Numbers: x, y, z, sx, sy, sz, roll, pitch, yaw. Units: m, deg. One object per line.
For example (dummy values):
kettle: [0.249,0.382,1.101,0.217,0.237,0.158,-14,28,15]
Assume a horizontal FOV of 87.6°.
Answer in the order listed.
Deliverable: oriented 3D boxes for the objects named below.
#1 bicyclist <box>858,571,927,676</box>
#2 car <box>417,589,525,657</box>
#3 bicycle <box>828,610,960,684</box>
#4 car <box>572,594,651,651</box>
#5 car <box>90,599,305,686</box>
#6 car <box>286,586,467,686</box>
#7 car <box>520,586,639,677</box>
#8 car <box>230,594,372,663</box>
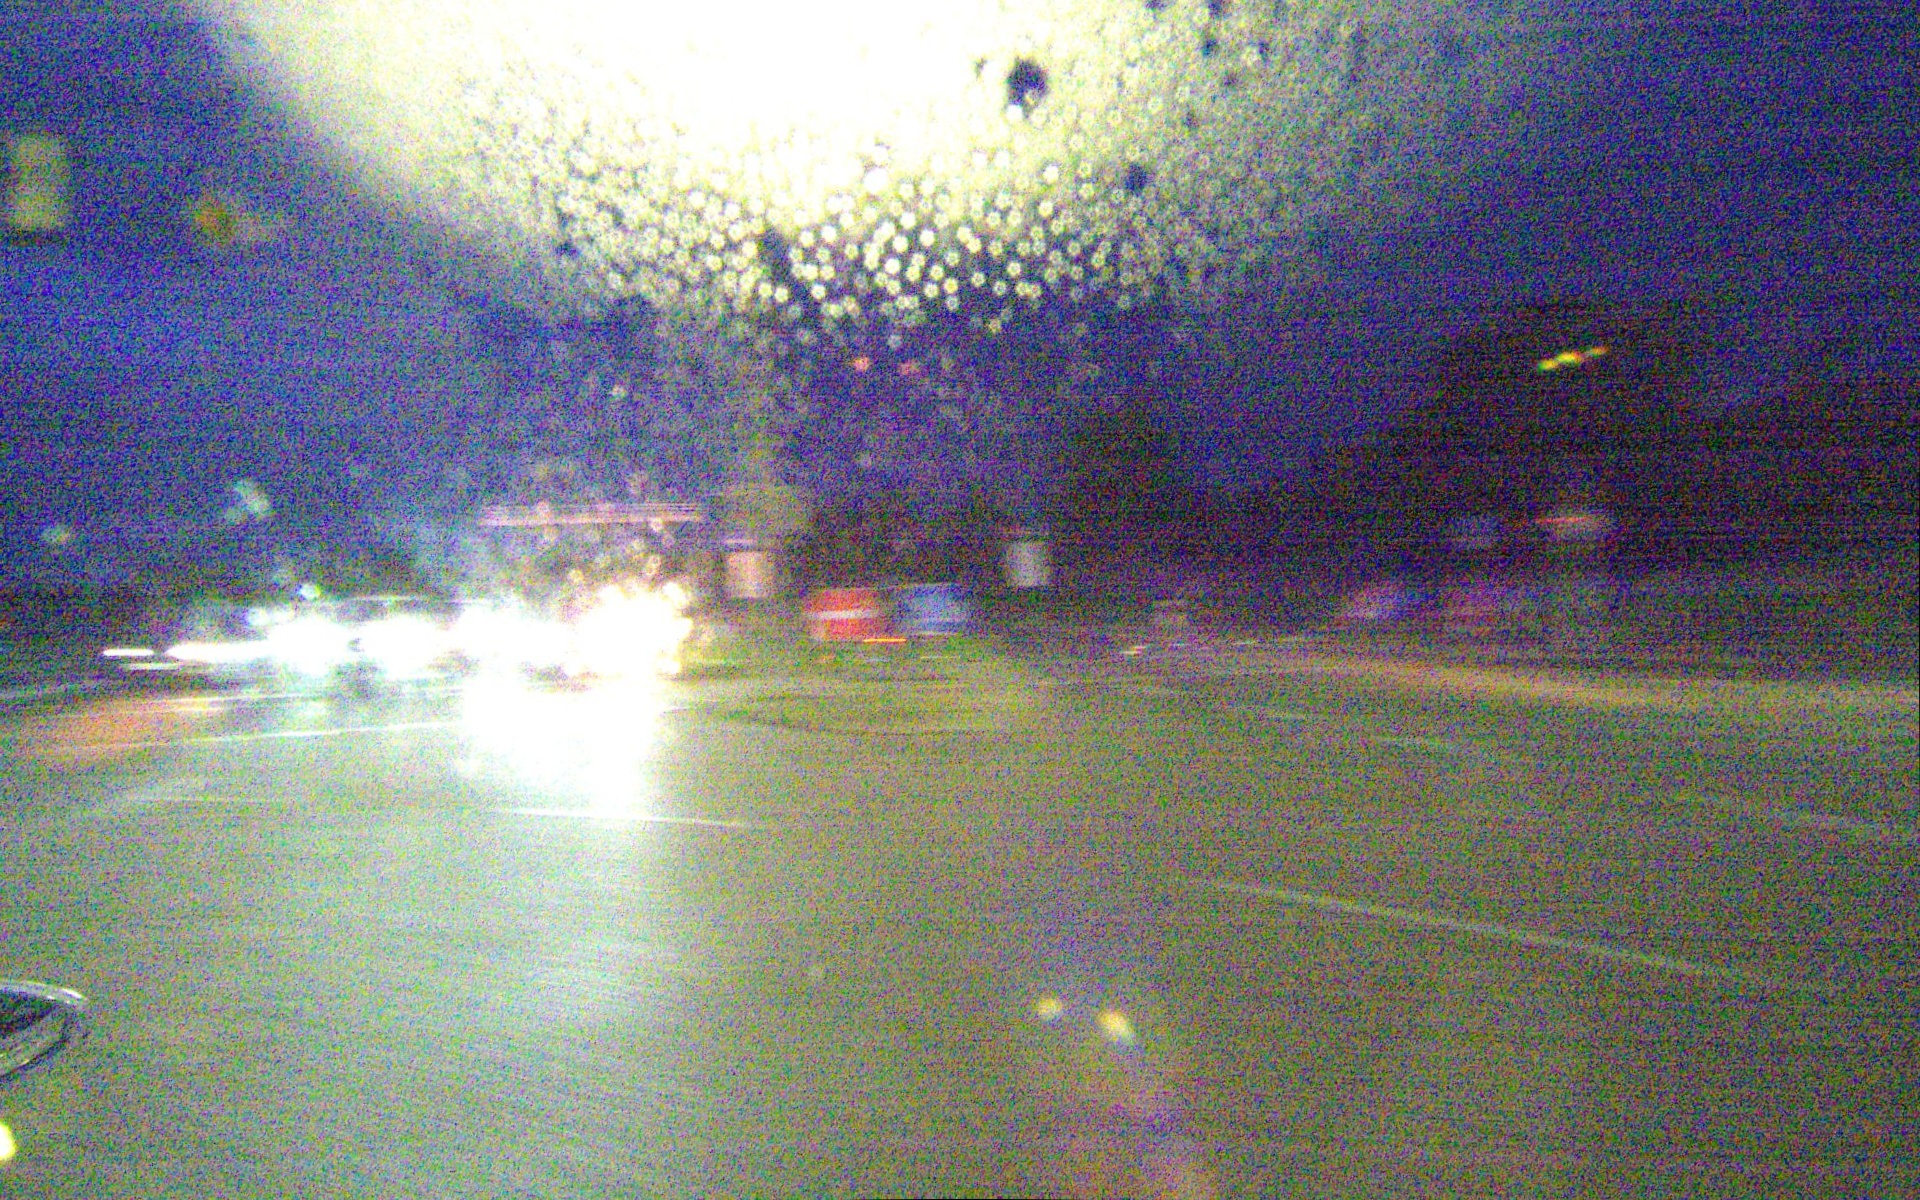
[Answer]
bicyclist: [-1.110,0.374,16.435,0.983,1.673,0.602,-1,1,-21]
car: [-12.998,0.546,26.879,1.719,1.648,4.355,-1,1,-14]
bicycle: [-1.081,0.750,16.459,2.033,1.116,0.693,-1,1,-21]
car: [-9.848,0.590,28.541,1.746,1.501,3.904,0,0,-14]
car: [-14.854,0.742,19.824,1.753,1.465,4.284,-1,1,-13]
car: [-11.208,0.599,19.601,1.880,1.705,4.412,-1,1,-14]
car: [-7.836,0.562,21.004,1.824,1.655,4.577,-1,1,-15]
car: [-16.738,0.658,25.675,1.804,1.545,3.993,-2,1,-15]
